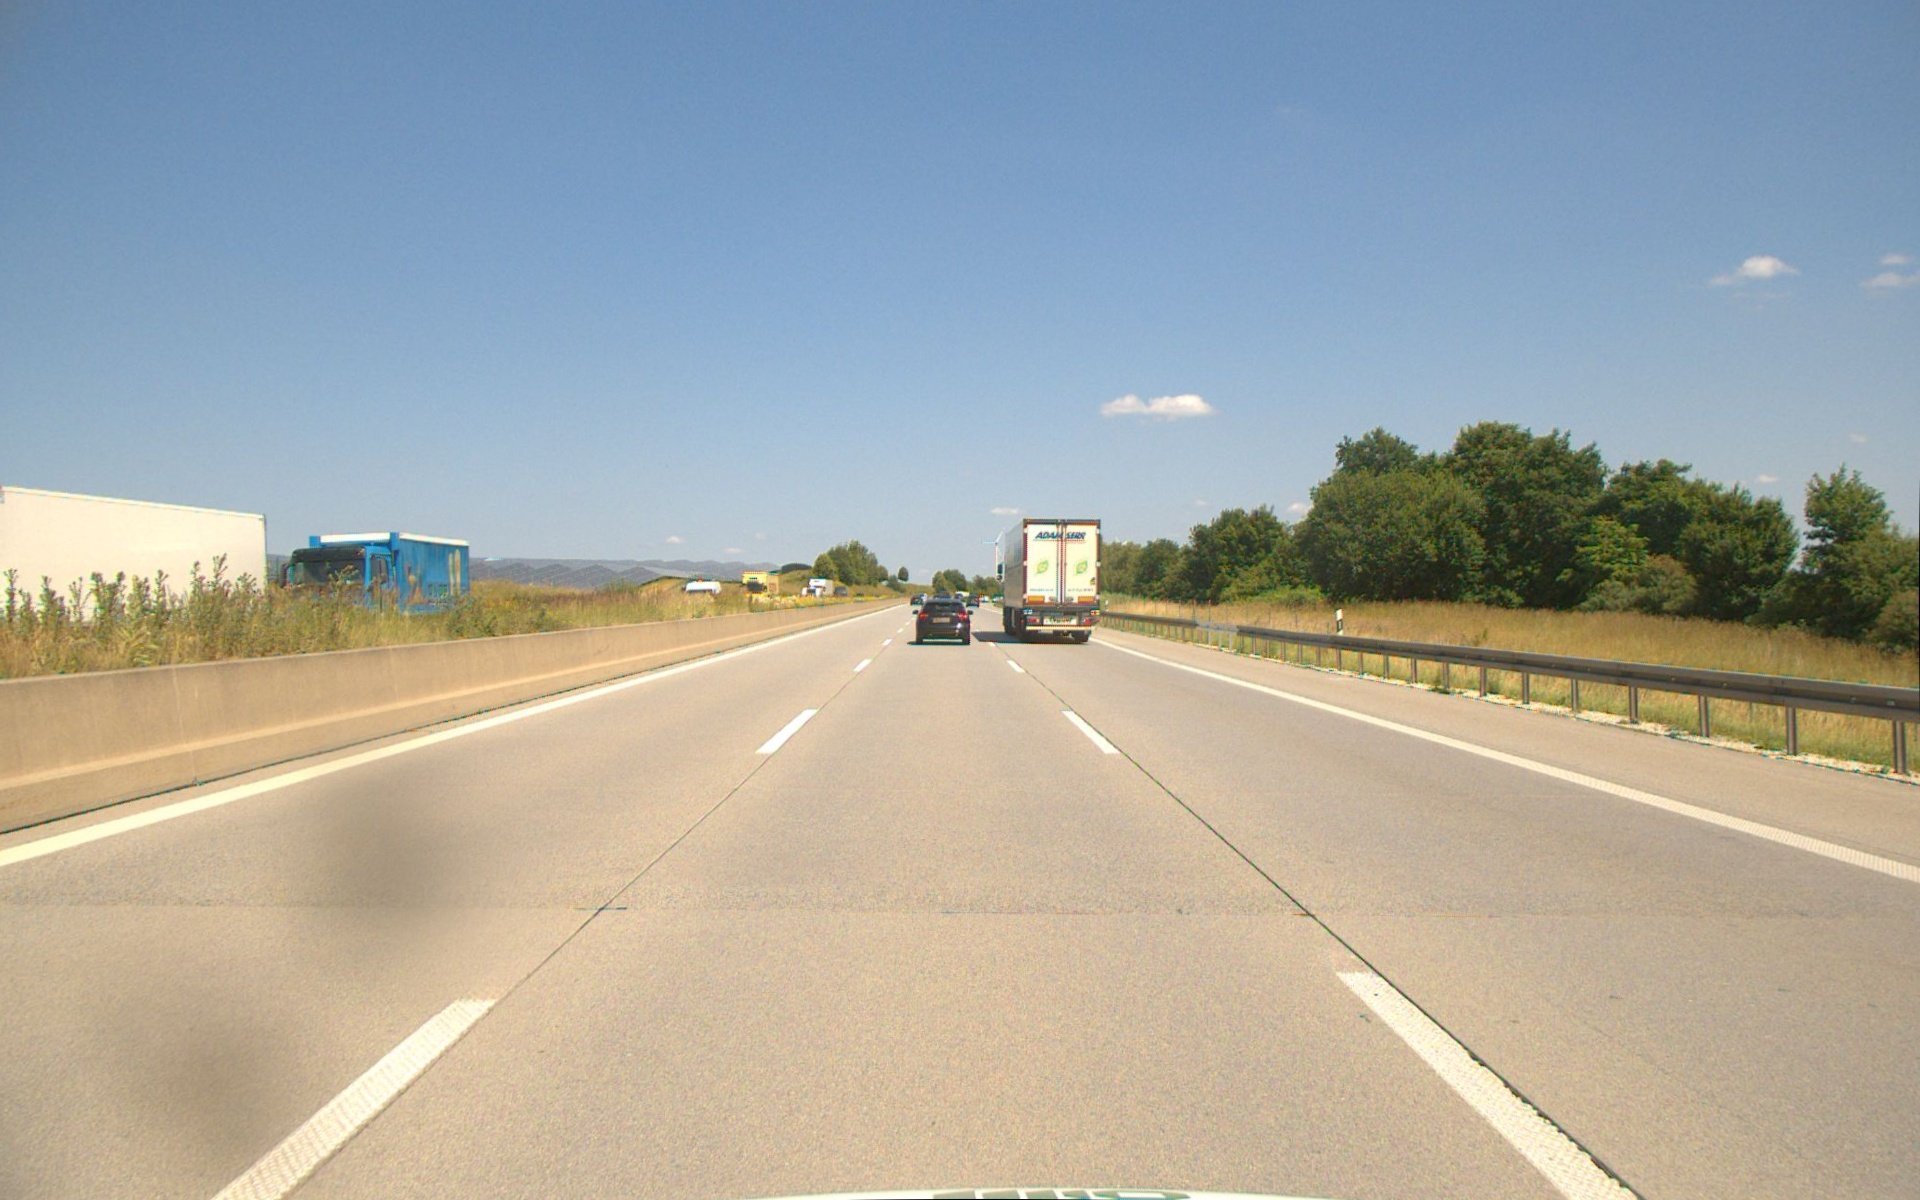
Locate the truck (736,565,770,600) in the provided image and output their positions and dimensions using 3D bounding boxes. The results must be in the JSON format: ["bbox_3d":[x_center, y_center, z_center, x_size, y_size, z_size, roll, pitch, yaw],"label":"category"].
[{"bbox_3d":[-22.210,-1.874,177.642,2.863,3.602,6.346,0,0,-1],"label":"truck"}]

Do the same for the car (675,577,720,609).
[{"bbox_3d":[-17.163,-0.425,108.371,2.139,2.049,6.346,1,0,-2],"label":"car"}]

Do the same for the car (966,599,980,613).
[{"bbox_3d":[1.733,0.833,227.083,1.790,1.940,3.999,1,0,-1],"label":"car"}]

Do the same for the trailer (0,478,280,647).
[{"bbox_3d":[-20.854,-0.771,41.173,3.012,3.586,11.761,1,0,-1],"label":"trailer"}]

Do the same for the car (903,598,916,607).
[{"bbox_3d":[-7.113,0.352,232.533,1.622,1.217,3.959,3,0,-1],"label":"car"}]

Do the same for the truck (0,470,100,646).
[{"bbox_3d":[-20.856,-0.873,33.687,3.059,3.548,6.884,1,0,-1],"label":"truck"}]

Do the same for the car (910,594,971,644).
[{"bbox_3d":[-0.643,0.576,53.487,1.871,1.518,4.191,1,0,-1],"label":"car"}]

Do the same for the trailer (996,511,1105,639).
[{"bbox_3d":[3.099,-0.817,60.466,2.795,4.113,12.708,1,0,-2],"label":"trailer"}]

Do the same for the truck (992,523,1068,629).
[{"bbox_3d":[2.829,-0.948,68.226,2.755,4.159,5.797,1,0,-1],"label":"truck"}]

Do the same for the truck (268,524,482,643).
[{"bbox_3d":[-17.004,-0.409,49.064,2.767,3.117,10.373,1,0,-1],"label":"truck"}]

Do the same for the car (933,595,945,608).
[{"bbox_3d":[-3.288,0.248,259.920,1.790,1.971,3.807,0,0,-3],"label":"car"}]
